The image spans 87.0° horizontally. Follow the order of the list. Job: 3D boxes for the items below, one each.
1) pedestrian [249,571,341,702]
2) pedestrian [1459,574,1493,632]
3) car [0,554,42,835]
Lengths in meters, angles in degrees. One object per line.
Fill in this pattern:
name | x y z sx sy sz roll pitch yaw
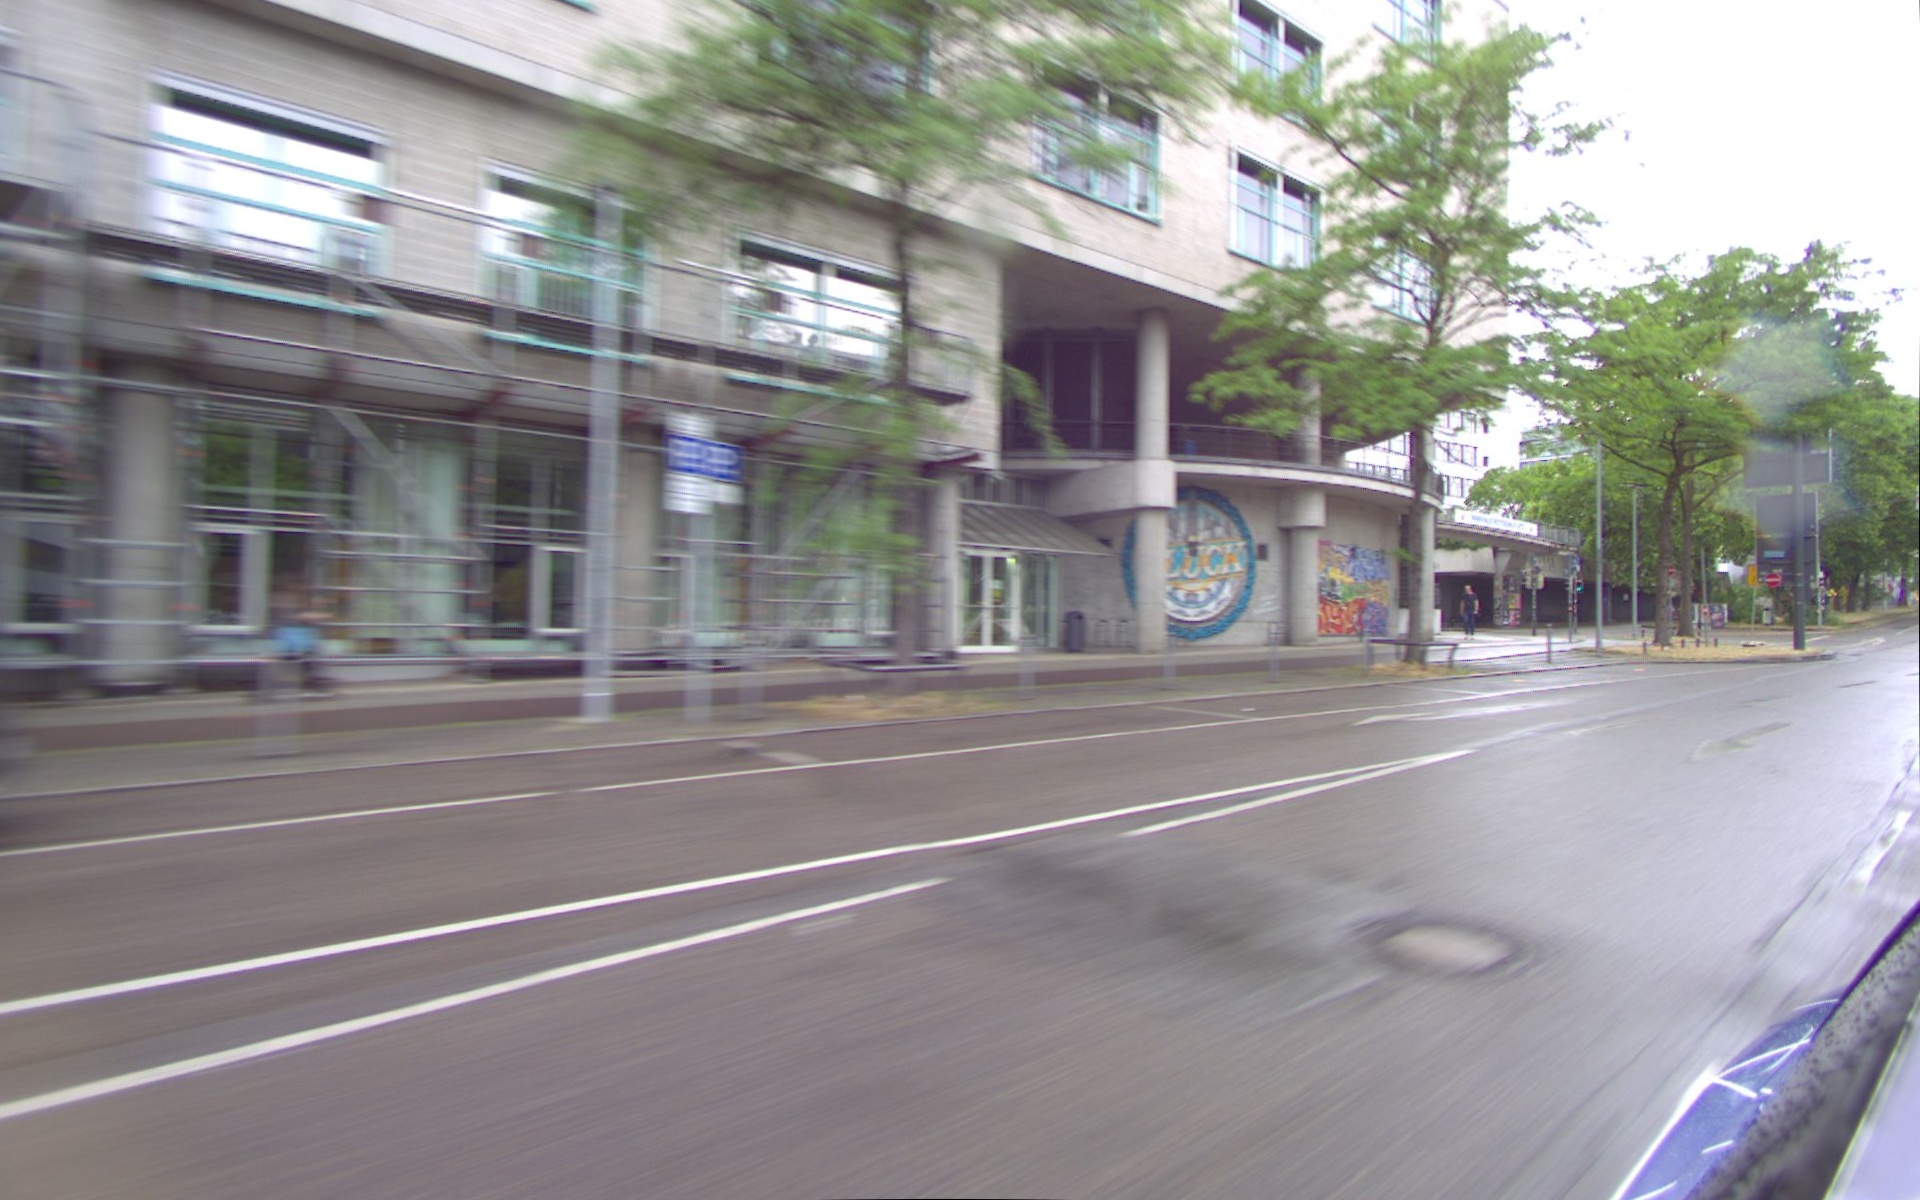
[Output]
pedestrian | -8.561 0.448 13.026 0.907 1.616 0.705 0 0 -40
pedestrian | 18.428 0.115 36.125 0.745 2.039 0.870 0 -1 -42
car | -7.798 0.540 4.556 5.188 1.621 2.000 0 0 -35
